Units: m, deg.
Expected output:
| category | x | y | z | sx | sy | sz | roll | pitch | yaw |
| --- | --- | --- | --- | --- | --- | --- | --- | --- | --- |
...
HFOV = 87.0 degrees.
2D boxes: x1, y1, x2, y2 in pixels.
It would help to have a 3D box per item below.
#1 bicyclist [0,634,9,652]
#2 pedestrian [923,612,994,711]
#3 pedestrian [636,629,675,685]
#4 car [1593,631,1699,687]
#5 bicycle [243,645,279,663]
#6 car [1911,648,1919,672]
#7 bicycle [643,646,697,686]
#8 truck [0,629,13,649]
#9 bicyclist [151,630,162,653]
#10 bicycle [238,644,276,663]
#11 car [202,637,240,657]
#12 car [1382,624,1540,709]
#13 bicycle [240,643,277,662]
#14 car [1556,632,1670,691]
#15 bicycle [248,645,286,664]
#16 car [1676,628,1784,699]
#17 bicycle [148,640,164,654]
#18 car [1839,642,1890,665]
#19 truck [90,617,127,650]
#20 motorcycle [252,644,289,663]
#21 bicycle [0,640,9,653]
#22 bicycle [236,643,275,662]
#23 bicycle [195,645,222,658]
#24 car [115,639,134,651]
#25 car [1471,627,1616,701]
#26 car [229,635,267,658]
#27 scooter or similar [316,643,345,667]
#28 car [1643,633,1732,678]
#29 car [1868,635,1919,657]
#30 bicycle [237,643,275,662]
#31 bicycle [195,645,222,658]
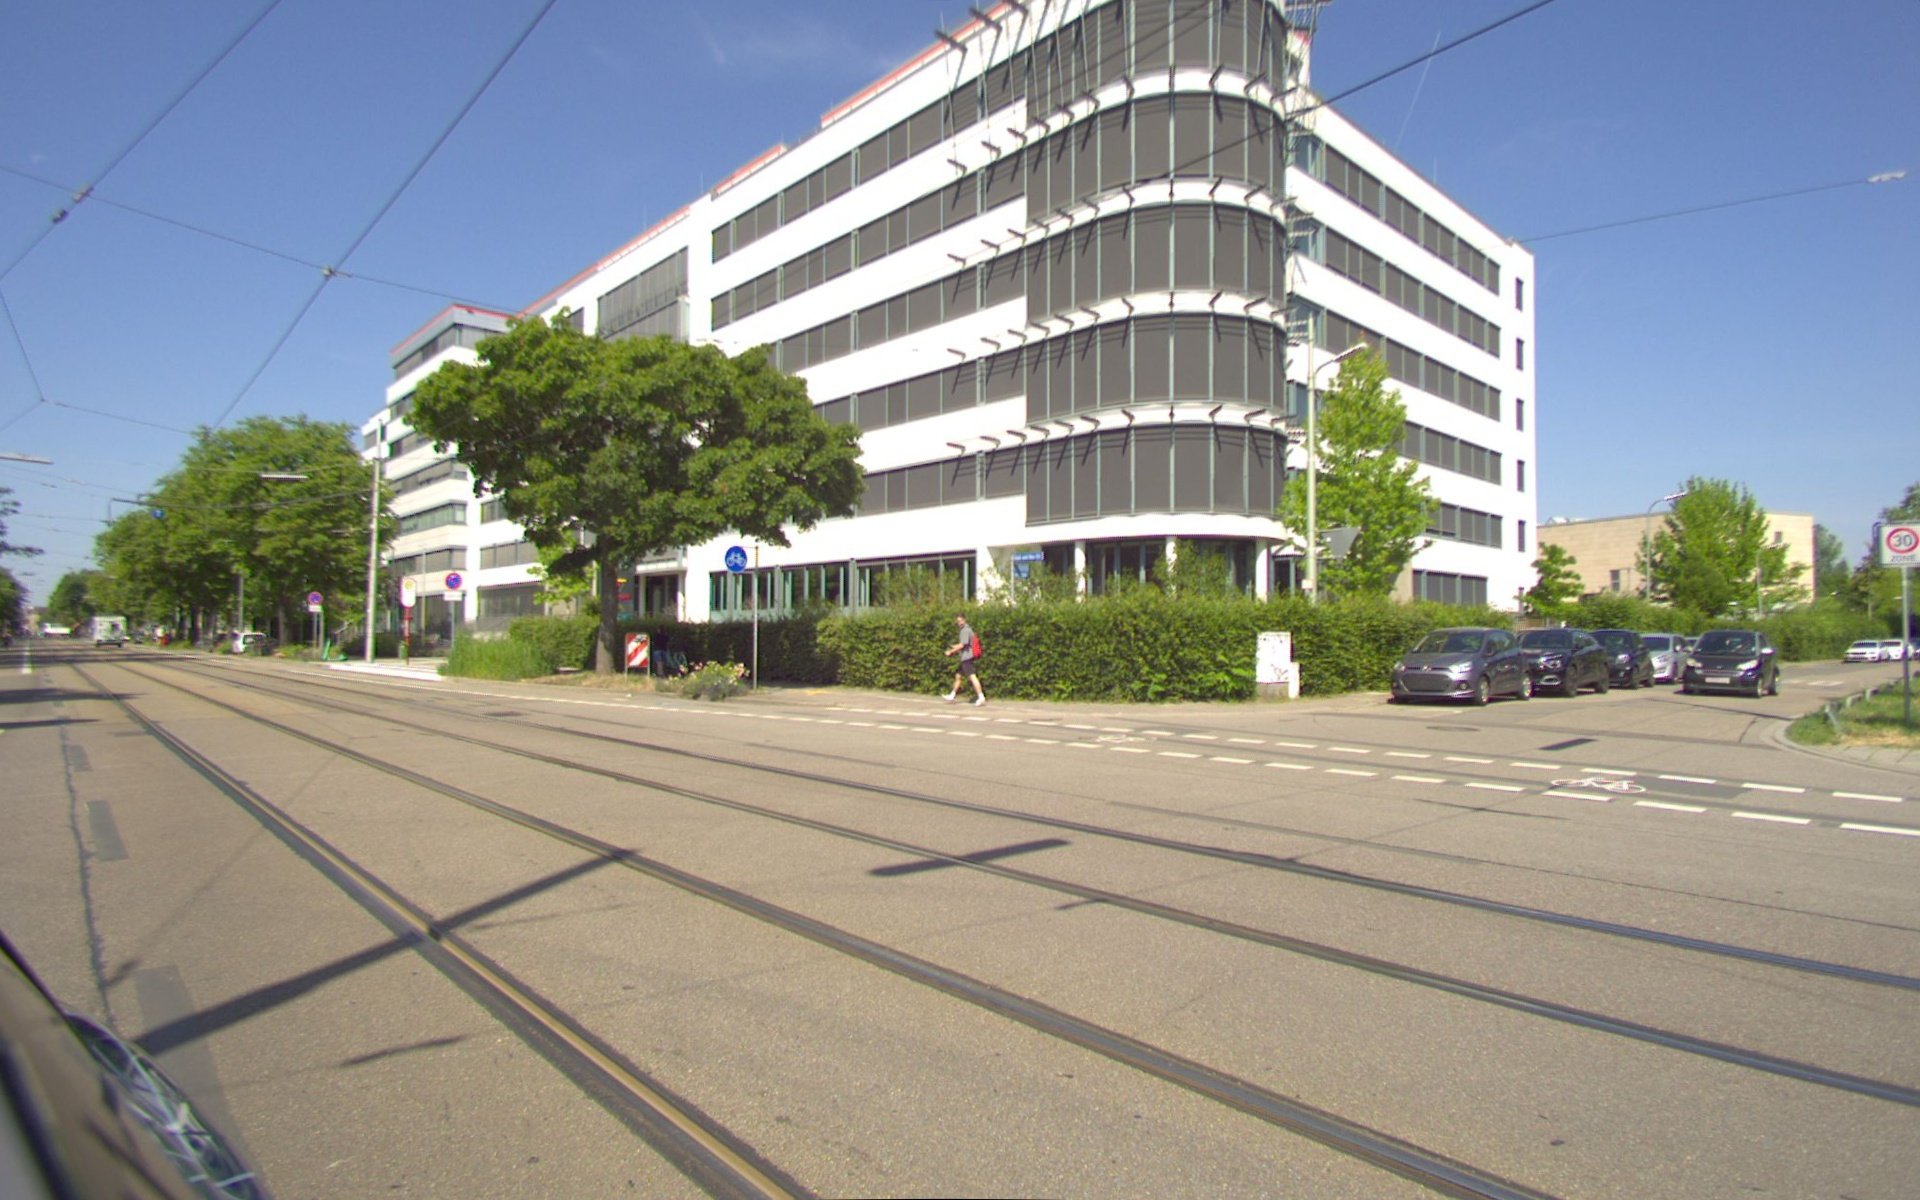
| category | x | y | z | sx | sy | sz | roll | pitch | yaw |
| --- | --- | --- | --- | --- | --- | --- | --- | --- | --- |
| bicyclist | -83.938 | 3.781 | 88.726 | 0.731 | 1.542 | 0.948 | 2 | -3 | -42 |
| pedestrian | -0.025 | 1.174 | 19.514 | 1.071 | 1.832 | 0.881 | -2 | -3 | 36 |
| pedestrian | -8.815 | 1.648 | 29.271 | 0.988 | 1.575 | 0.678 | -2 | -2 | 43 |
| car | 20.484 | 1.717 | 30.162 | 3.984 | 1.517 | 1.816 | 1 | -3 | -44 |
| bicycle | -42.619 | 3.273 | 61.699 | 1.704 | 1.094 | 0.640 | 2 | -3 | -44 |
| car | 63.076 | 3.873 | 65.446 | 3.769 | 1.460 | 1.938 | 2 | -3 | -42 |
| bicycle | -8.473 | 1.904 | 29.504 | 0.628 | 1.126 | 2.069 | 3 | -4 | -43 |
| truck | -181.086 | 7.275 | 188.821 | 2.773 | 3.889 | 10.032 | 1 | -3 | -21 |
| bicyclist | -68.570 | 3.550 | 86.361 | 0.628 | 1.885 | 1.025 | 2 | -3 | -43 |
| bicycle | -43.586 | 3.314 | 62.734 | 1.827 | 1.140 | 0.681 | 2 | -3 | -44 |
| car | -55.339 | 3.486 | 75.755 | 1.611 | 1.494 | 4.275 | 2 | -3 | -45 |
| car | 9.995 | 1.274 | 20.086 | 3.641 | 1.539 | 1.706 | 3 | -3 | -45 |
| bicycle | -43.228 | 3.226 | 62.346 | 1.771 | 1.094 | 0.727 | 2 | -3 | -44 |
| car | 17.564 | 1.608 | 27.162 | 3.793 | 1.455 | 1.785 | 2 | -3 | -45 |
| bicycle | -40.311 | 3.166 | 58.905 | 1.704 | 1.094 | 0.790 | 2 | -3 | -44 |
| car | 18.061 | 1.445 | 23.715 | 2.931 | 1.550 | 1.481 | 1 | -3 | -43 |
| bicycle | -68.626 | 4.017 | 86.344 | 0.845 | 1.118 | 2.141 | 2 | -3 | -43 |
| car | 58.743 | 3.463 | 65.714 | 3.768 | 1.460 | 1.938 | 2 | -3 | -40 |
| truck | -83.391 | 3.286 | 99.107 | 2.374 | 3.132 | 6.043 | 3 | -4 | -43 |
| motorcycle | -41.461 | 3.227 | 60.868 | 1.704 | 1.094 | 0.659 | 2 | -3 | -44 |
| bicycle | -83.939 | 4.089 | 88.825 | 0.584 | 1.114 | 2.056 | 2 | -3 | -42 |
| bicycle | -44.405 | 3.287 | 63.788 | 1.881 | 1.178 | 0.820 | 2 | -3 | -44 |
| bicycle | -61.211 | 4.189 | 82.465 | 1.704 | 1.094 | 0.479 | 2 | -3 | -44 |
| car | -104.720 | 5.586 | 126.886 | 1.610 | 1.483 | 4.118 | 2 | -3 | -42 |
| car | 13.406 | 1.408 | 23.156 | 4.107 | 1.530 | 1.816 | 2 | -3 | -45 |
| car | -47.009 | 3.076 | 66.787 | 1.610 | 1.483 | 3.635 | 2 | -3 | -42 |
| scooter or similar | -30.800 | 2.675 | 49.506 | 1.112 | 1.175 | 0.677 | 2 | -3 | -40 |
| car | 24.735 | 1.859 | 34.361 | 3.771 | 1.414 | 1.816 | 3 | -3 | -45 |
| car | 64.368 | 3.171 | 69.727 | 3.765 | 1.460 | 1.940 | 2 | -3 | -36 |
| bicycle | -44.019 | 3.286 | 63.260 | 1.850 | 1.150 | 0.686 | 2 | -3 | -44 |
| bicycle | -60.888 | 4.165 | 82.018 | 1.704 | 1.094 | 0.615 | 2 | -3 | -44 |
